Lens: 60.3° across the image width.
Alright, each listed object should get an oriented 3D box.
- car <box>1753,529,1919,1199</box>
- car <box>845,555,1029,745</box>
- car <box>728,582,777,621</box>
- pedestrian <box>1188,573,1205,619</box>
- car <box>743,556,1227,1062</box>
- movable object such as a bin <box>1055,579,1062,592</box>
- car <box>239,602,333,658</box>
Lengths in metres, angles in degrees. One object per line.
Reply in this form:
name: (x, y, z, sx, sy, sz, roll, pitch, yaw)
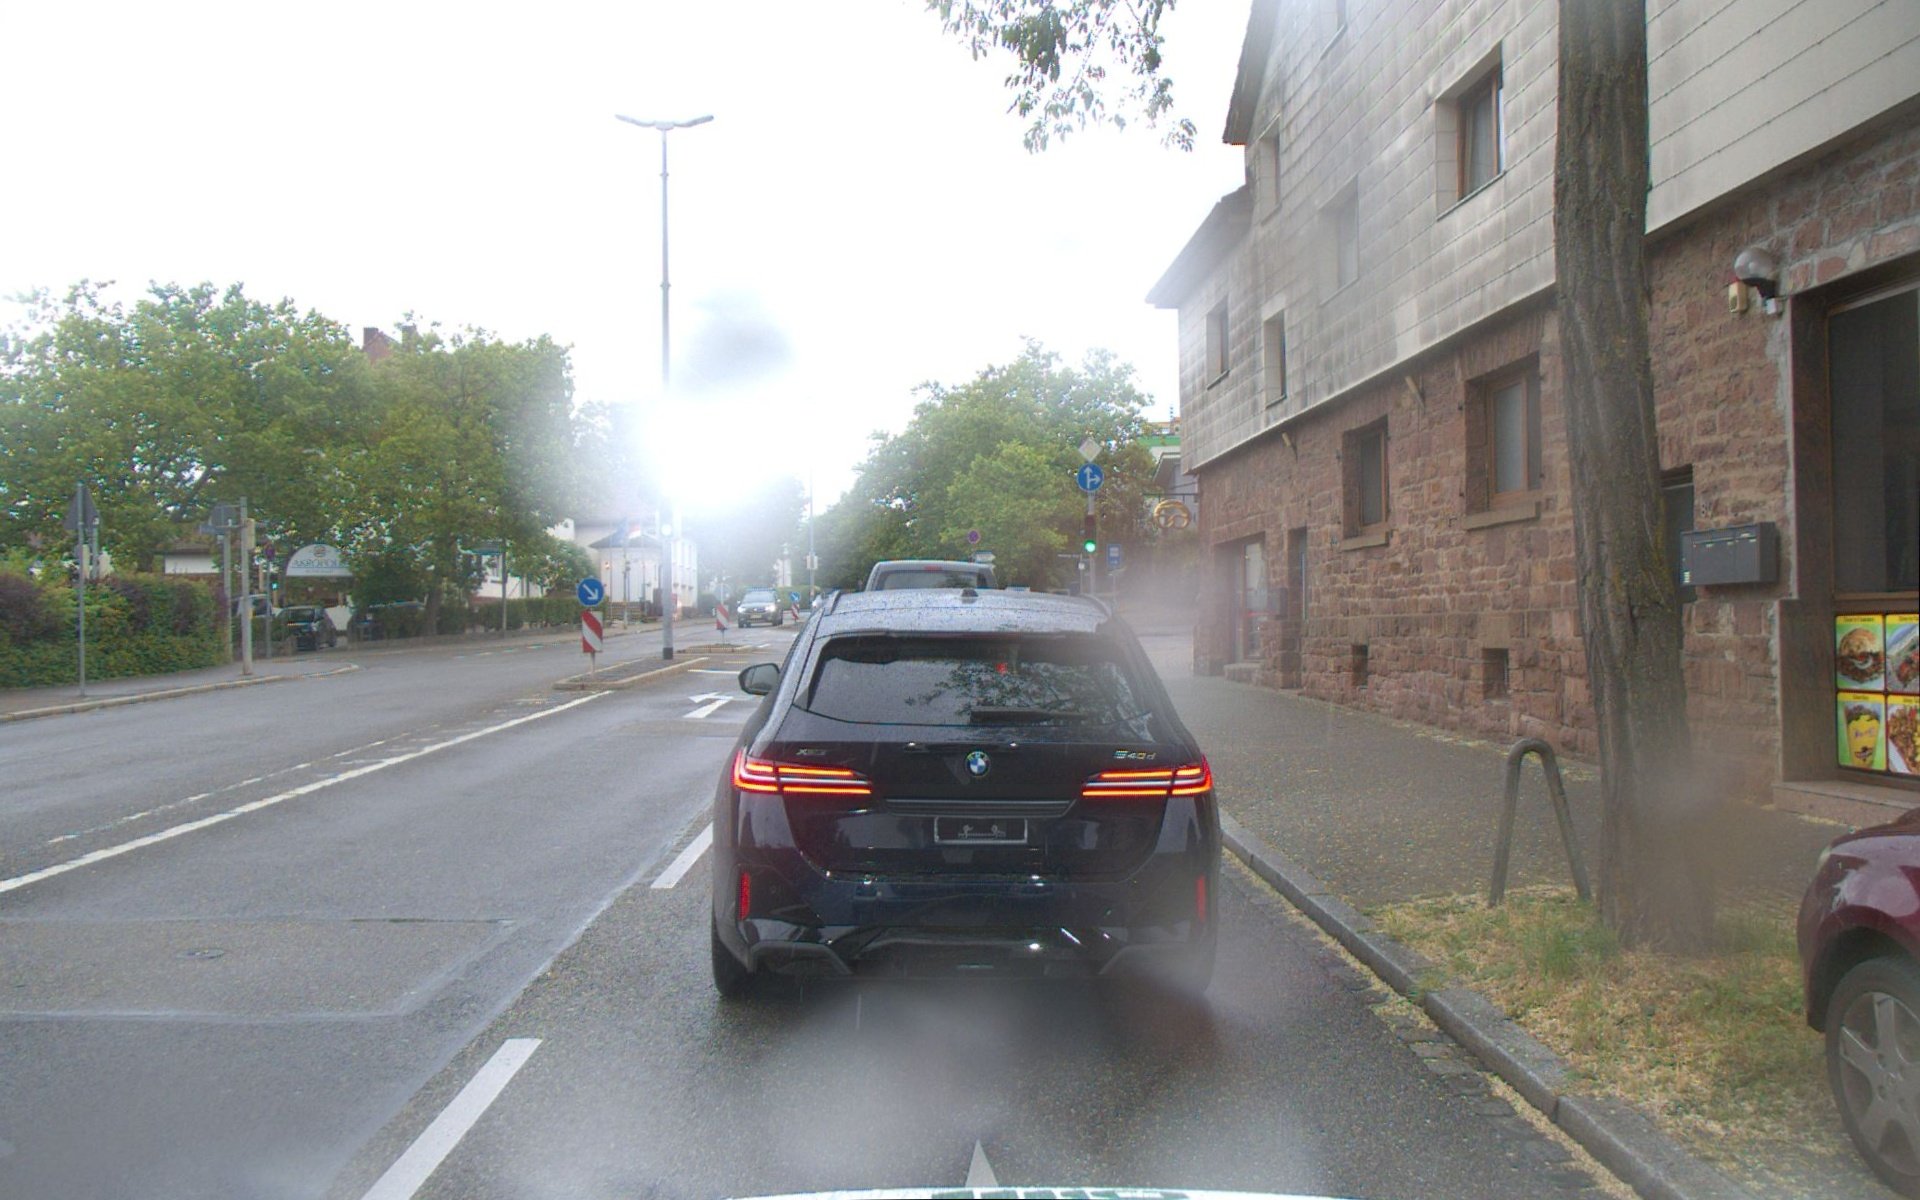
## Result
car: (3.064, 0.579, 2.678, 1.578, 1.530, 3.753, 1, -2, -4)
car: (-0.342, 0.498, 18.115, 1.776, 1.840, 3.753, 1, 0, -4)
car: (-9.188, 0.034, 73.548, 1.861, 1.604, 4.499, -1, 1, -4)
pedestrian: (8.511, -0.143, 59.558, 0.588, 1.645, 0.526, 1, -1, 6)
car: (-0.024, 0.663, 6.924, 1.494, 1.561, 3.529, 1, 0, -4)
movable object such as a bin: (6.886, -0.998, 115.419, 0.440, 0.921, 0.463, 1, -1, 14)
car: (-23.135, 0.987, 56.911, 1.772, 1.578, 4.000, 1, 4, -3)
